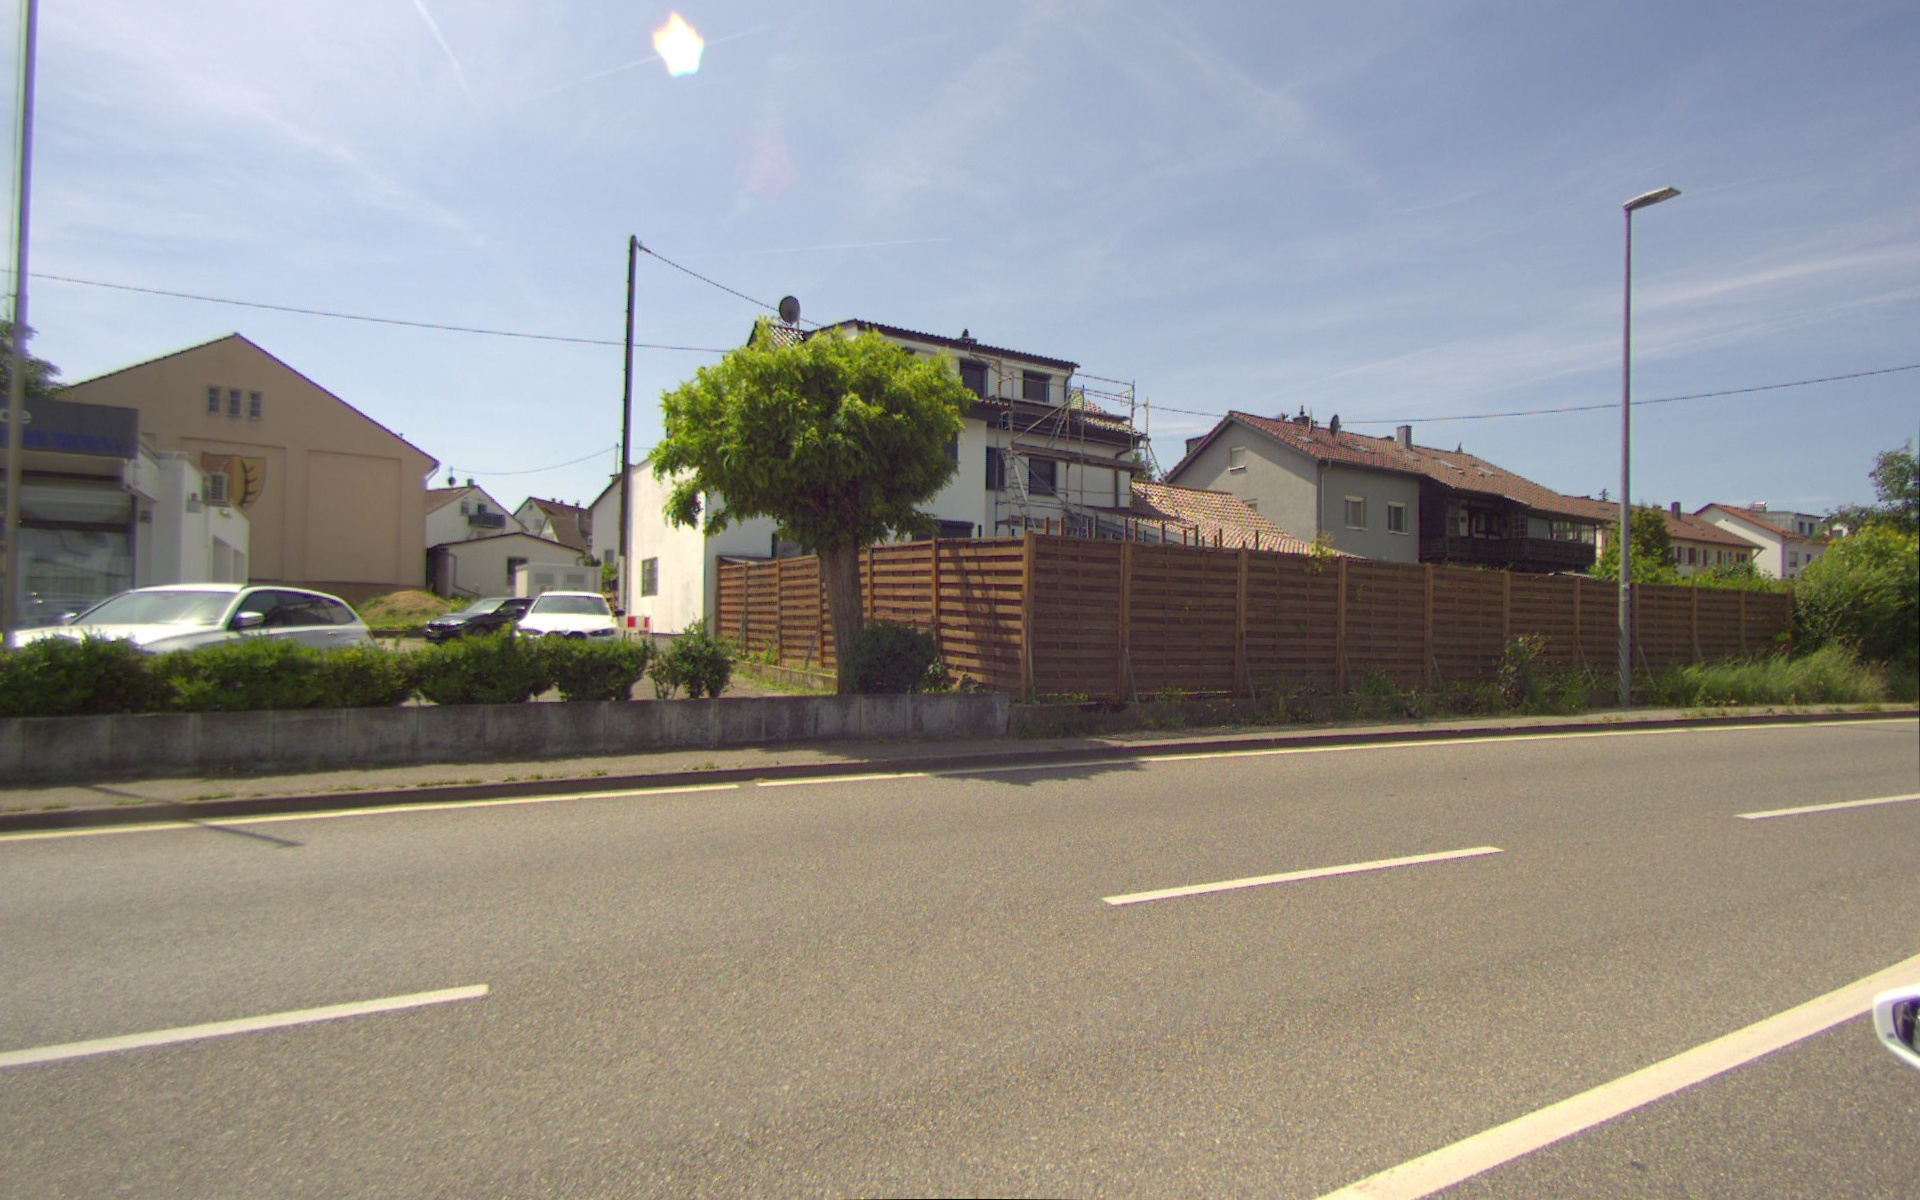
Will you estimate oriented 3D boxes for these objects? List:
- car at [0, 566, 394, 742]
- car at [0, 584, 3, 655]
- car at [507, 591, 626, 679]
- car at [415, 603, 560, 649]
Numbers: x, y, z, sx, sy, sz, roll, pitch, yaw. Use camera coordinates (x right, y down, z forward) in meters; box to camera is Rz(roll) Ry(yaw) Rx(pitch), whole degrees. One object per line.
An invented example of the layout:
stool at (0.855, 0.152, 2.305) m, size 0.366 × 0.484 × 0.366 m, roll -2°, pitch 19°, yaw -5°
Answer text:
car at (-8.092, 0.463, 10.779) m, size 1.822 × 1.467 × 4.339 m, roll 2°, pitch 0°, yaw -5°
car at (-11.325, 0.511, 8.826) m, size 1.863 × 1.467 × 4.339 m, roll 2°, pitch 0°, yaw -5°
car at (-7.573, 0.623, 19.667) m, size 1.805 × 1.530 × 3.985 m, roll 1°, pitch 0°, yaw -17°
car at (-14.580, 0.756, 31.232) m, size 1.756 × 1.238 × 3.999 m, roll 2°, pitch 1°, yaw 21°
